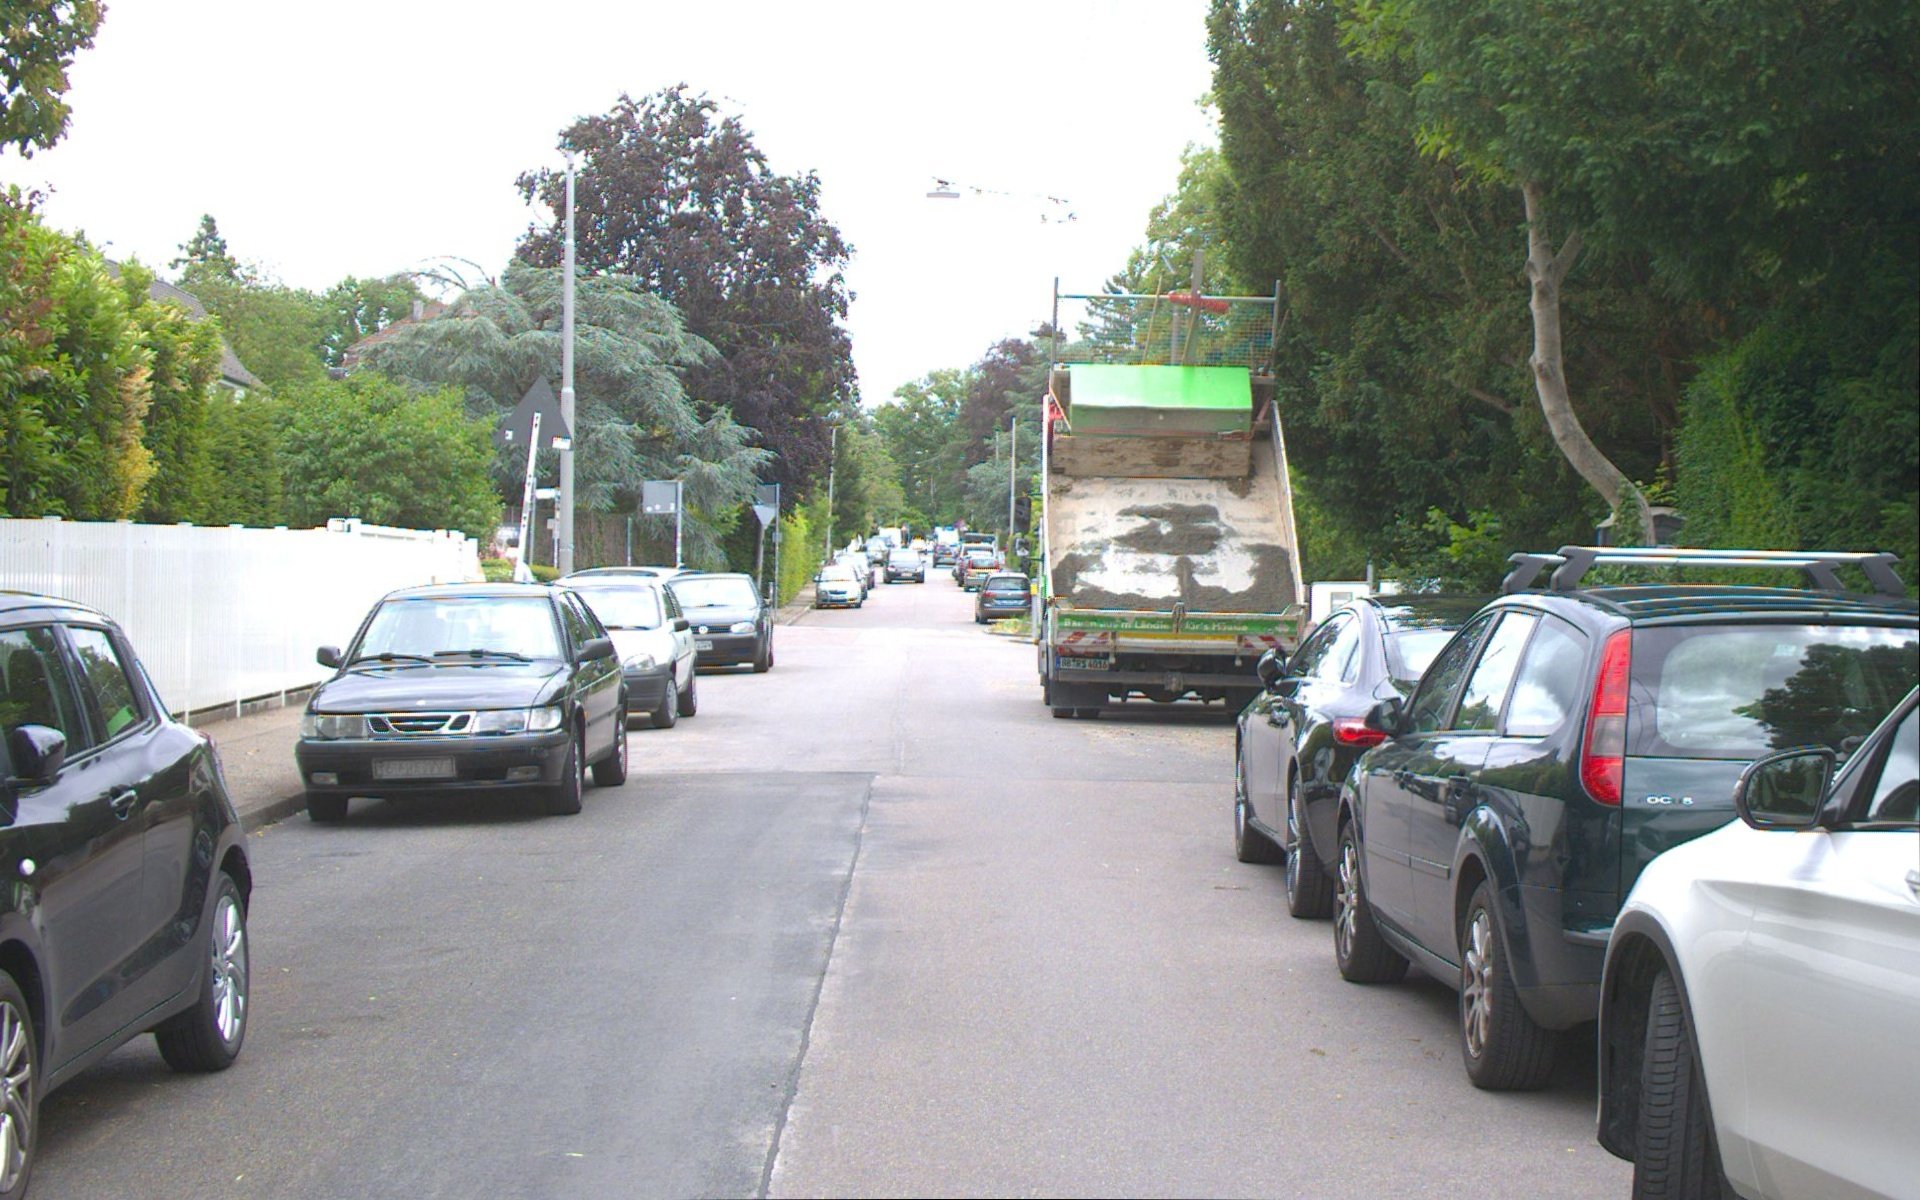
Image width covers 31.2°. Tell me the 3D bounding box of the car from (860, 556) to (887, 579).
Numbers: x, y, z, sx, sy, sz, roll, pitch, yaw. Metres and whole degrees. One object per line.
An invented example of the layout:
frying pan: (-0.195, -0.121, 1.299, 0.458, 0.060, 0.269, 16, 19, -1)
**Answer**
car: (-5.375, -2.032, 214.266, 1.626, 1.381, 3.599, 3, 0, -1)

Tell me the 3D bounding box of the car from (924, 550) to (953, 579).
car: (-1.323, -2.154, 209.589, 1.633, 1.695, 3.494, 1, 1, -1)

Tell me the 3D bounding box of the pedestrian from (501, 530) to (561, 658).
pedestrian: (-6.871, -0.103, 55.103, 0.852, 2.007, 0.701, 3, 0, -5)

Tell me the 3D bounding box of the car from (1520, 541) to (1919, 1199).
car: (2.323, 0.736, 5.518, 1.757, 1.600, 4.576, 2, 0, -4)

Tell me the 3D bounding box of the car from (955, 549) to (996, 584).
car: (0.721, -1.548, 158.639, 1.789, 1.524, 3.734, 1, 1, 1)

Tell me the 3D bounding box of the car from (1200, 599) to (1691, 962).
car: (2.186, 0.751, 16.656, 1.652, 1.419, 4.661, 2, 1, 0)

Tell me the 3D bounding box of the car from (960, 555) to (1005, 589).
car: (0.967, -1.240, 149.358, 1.810, 1.331, 3.633, 2, 2, -1)

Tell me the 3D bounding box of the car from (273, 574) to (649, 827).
car: (-3.117, 0.571, 22.329, 1.641, 1.417, 4.549, -2, 1, 1)

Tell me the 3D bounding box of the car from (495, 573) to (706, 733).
car: (-3.443, 0.472, 33.508, 1.596, 1.428, 4.000, -1, 1, 0)

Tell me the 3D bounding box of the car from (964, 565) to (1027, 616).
car: (1.068, -0.305, 105.723, 1.778, 1.484, 4.000, 1, 0, -2)

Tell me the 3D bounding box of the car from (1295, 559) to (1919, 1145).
car: (2.253, 0.661, 11.366, 1.698, 1.565, 4.309, 0, 0, -2)

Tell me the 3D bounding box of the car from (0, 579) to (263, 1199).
car: (-3.042, 0.725, 8.879, 1.655, 1.476, 3.888, -2, 1, 0)

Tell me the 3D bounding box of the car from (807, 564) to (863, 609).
car: (-4.546, -0.493, 125.823, 1.711, 1.580, 4.000, 1, 1, 2)

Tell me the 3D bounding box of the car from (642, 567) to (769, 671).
car: (-3.613, 0.241, 49.308, 1.637, 1.390, 3.989, -1, 1, -2)

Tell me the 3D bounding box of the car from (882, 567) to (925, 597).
car: (-2.702, -0.877, 164.363, 1.728, 1.402, 3.803, 1, 0, 3)

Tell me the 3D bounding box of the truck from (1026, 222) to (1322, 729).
truck: (2.095, -1.211, 36.197, 2.524, 4.732, 7.187, 2, 0, 0)
